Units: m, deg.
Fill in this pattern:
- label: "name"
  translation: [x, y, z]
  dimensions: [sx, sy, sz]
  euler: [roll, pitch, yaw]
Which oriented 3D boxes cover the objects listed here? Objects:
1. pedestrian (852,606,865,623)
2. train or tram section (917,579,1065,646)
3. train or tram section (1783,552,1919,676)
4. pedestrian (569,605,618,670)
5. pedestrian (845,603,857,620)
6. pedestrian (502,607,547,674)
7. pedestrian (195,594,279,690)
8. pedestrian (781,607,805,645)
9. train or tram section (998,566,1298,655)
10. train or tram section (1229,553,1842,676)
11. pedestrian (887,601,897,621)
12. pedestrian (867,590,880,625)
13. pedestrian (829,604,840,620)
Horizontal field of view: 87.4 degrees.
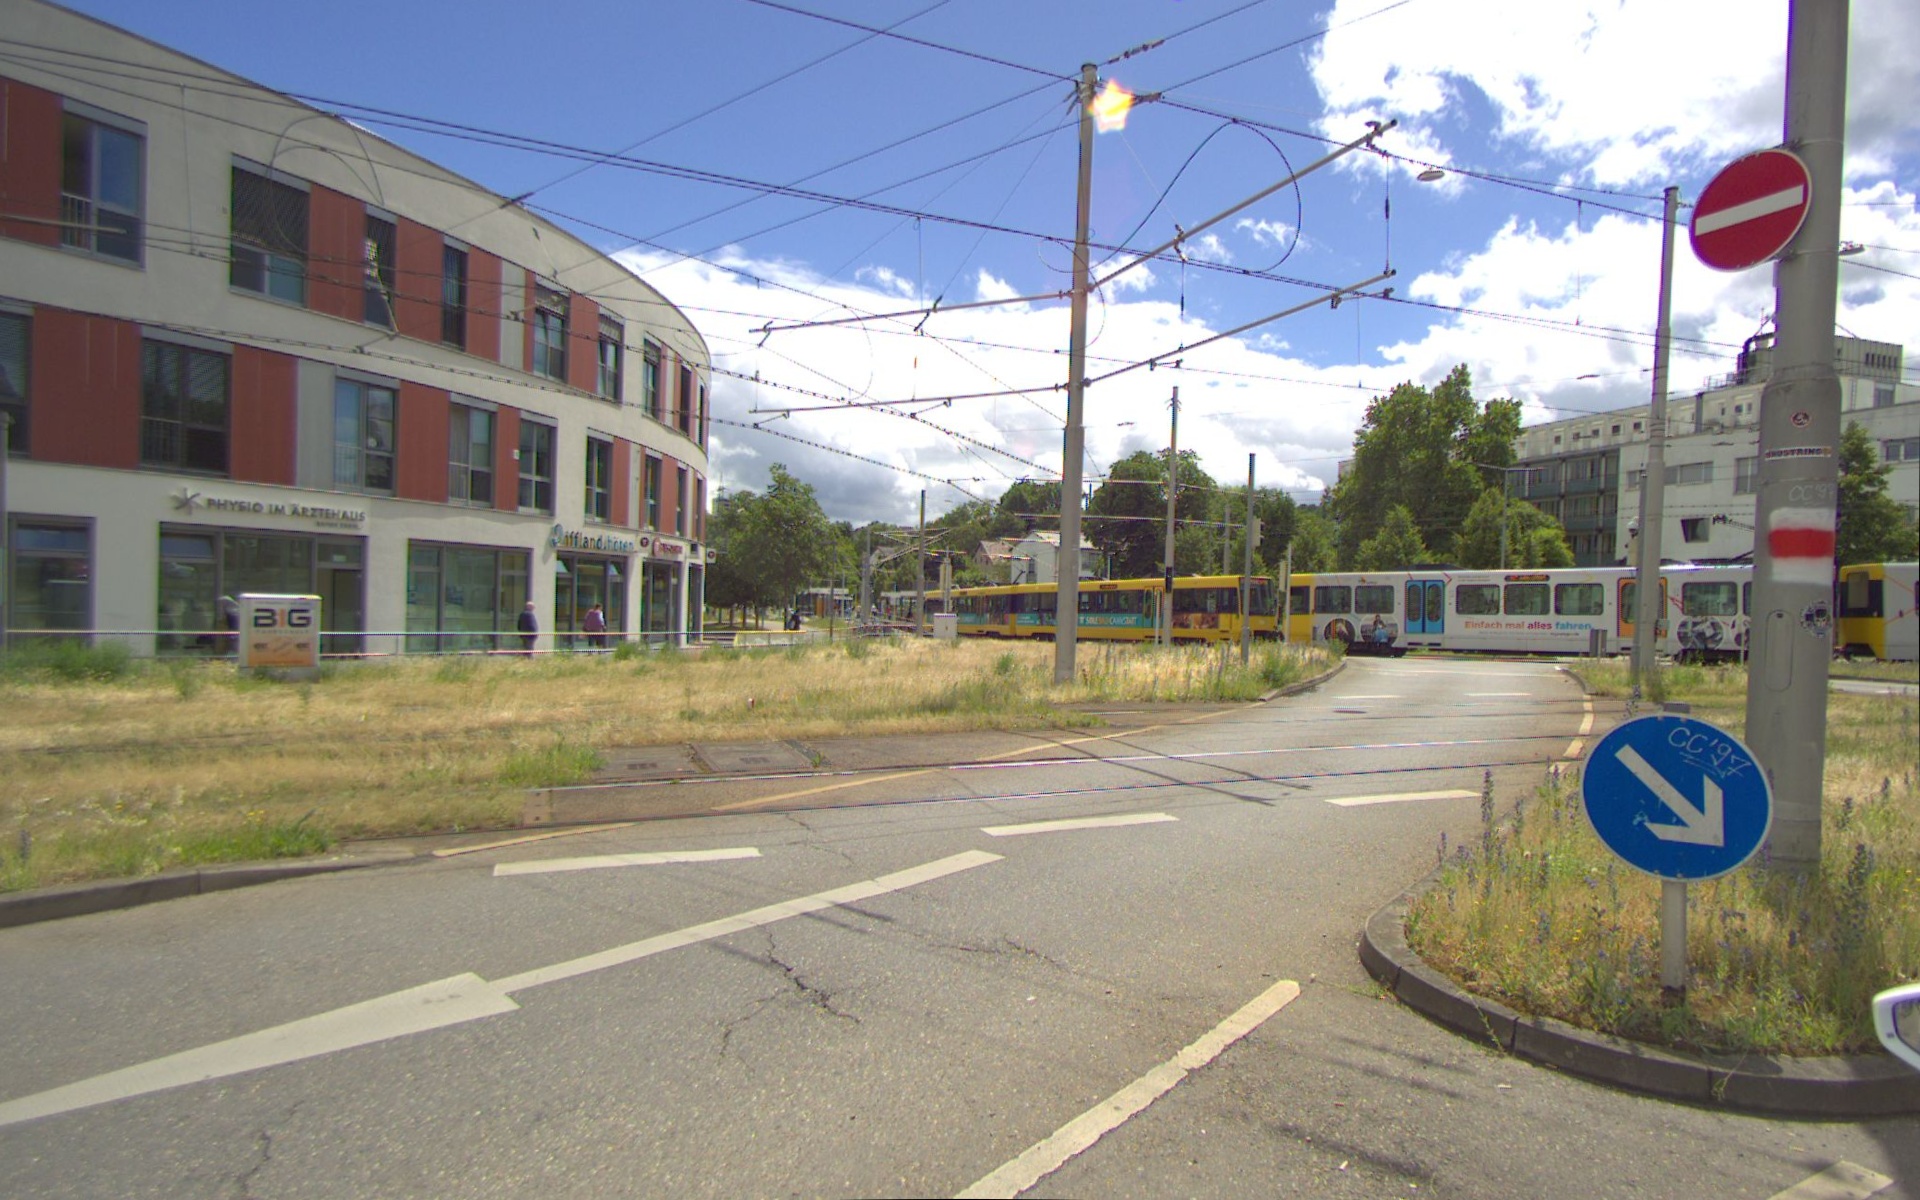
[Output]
- label: "pedestrian"
  translation: [-11.947, 1.717, 118.082]
  dimensions: [1.241, 2.040, 1.121]
  euler: [2, -1, -19]
- label: "train or tram section"
  translation: [1.584, 0.927, 70.139]
  dimensions: [3.704, 3.970, 18.813]
  euler: [2, -2, -19]
- label: "train or tram section"
  translation: [38.197, 0.643, 31.229]
  dimensions: [19.646, 3.864, 3.764]
  euler: [1, -1, 15]
- label: "pedestrian"
  translation: [-11.457, 1.172, 31.389]
  dimensions: [0.849, 1.994, 1.104]
  euler: [1, -1, 30]
- label: "pedestrian"
  translation: [-13.456, 1.400, 123.607]
  dimensions: [1.241, 2.040, 1.121]
  euler: [2, -1, -19]
- label: "pedestrian"
  translation: [-10.664, 0.972, 24.606]
  dimensions: [0.721, 1.601, 0.691]
  euler: [1, 0, 24]
- label: "pedestrian"
  translation: [-15.422, 0.885, 21.444]
  dimensions: [0.848, 1.994, 1.115]
  euler: [1, -1, 25]
- label: "pedestrian"
  translation: [-7.464, 1.164, 44.966]
  dimensions: [0.847, 1.646, 0.733]
  euler: [1, -1, 7]
- label: "train or tram section"
  translation: [8.965, 0.628, 53.934]
  dimensions: [3.718, 3.880, 19.987]
  euler: [2, -2, -30]
- label: "train or tram section"
  translation: [21.137, 0.480, 39.697]
  dimensions: [20.300, 3.930, 3.749]
  euler: [0, -2, 36]
- label: "pedestrian"
  translation: [-7.163, 1.166, 105.751]
  dimensions: [0.807, 2.040, 0.771]
  euler: [2, -1, -15]
- label: "pedestrian"
  translation: [-14.939, 1.371, 173.219]
  dimensions: [1.964, 5.998, 2.368]
  euler: [2, -1, -9]
- label: "pedestrian"
  translation: [-16.744, 1.594, 133.620]
  dimensions: [1.241, 2.040, 1.121]
  euler: [2, -1, -19]
